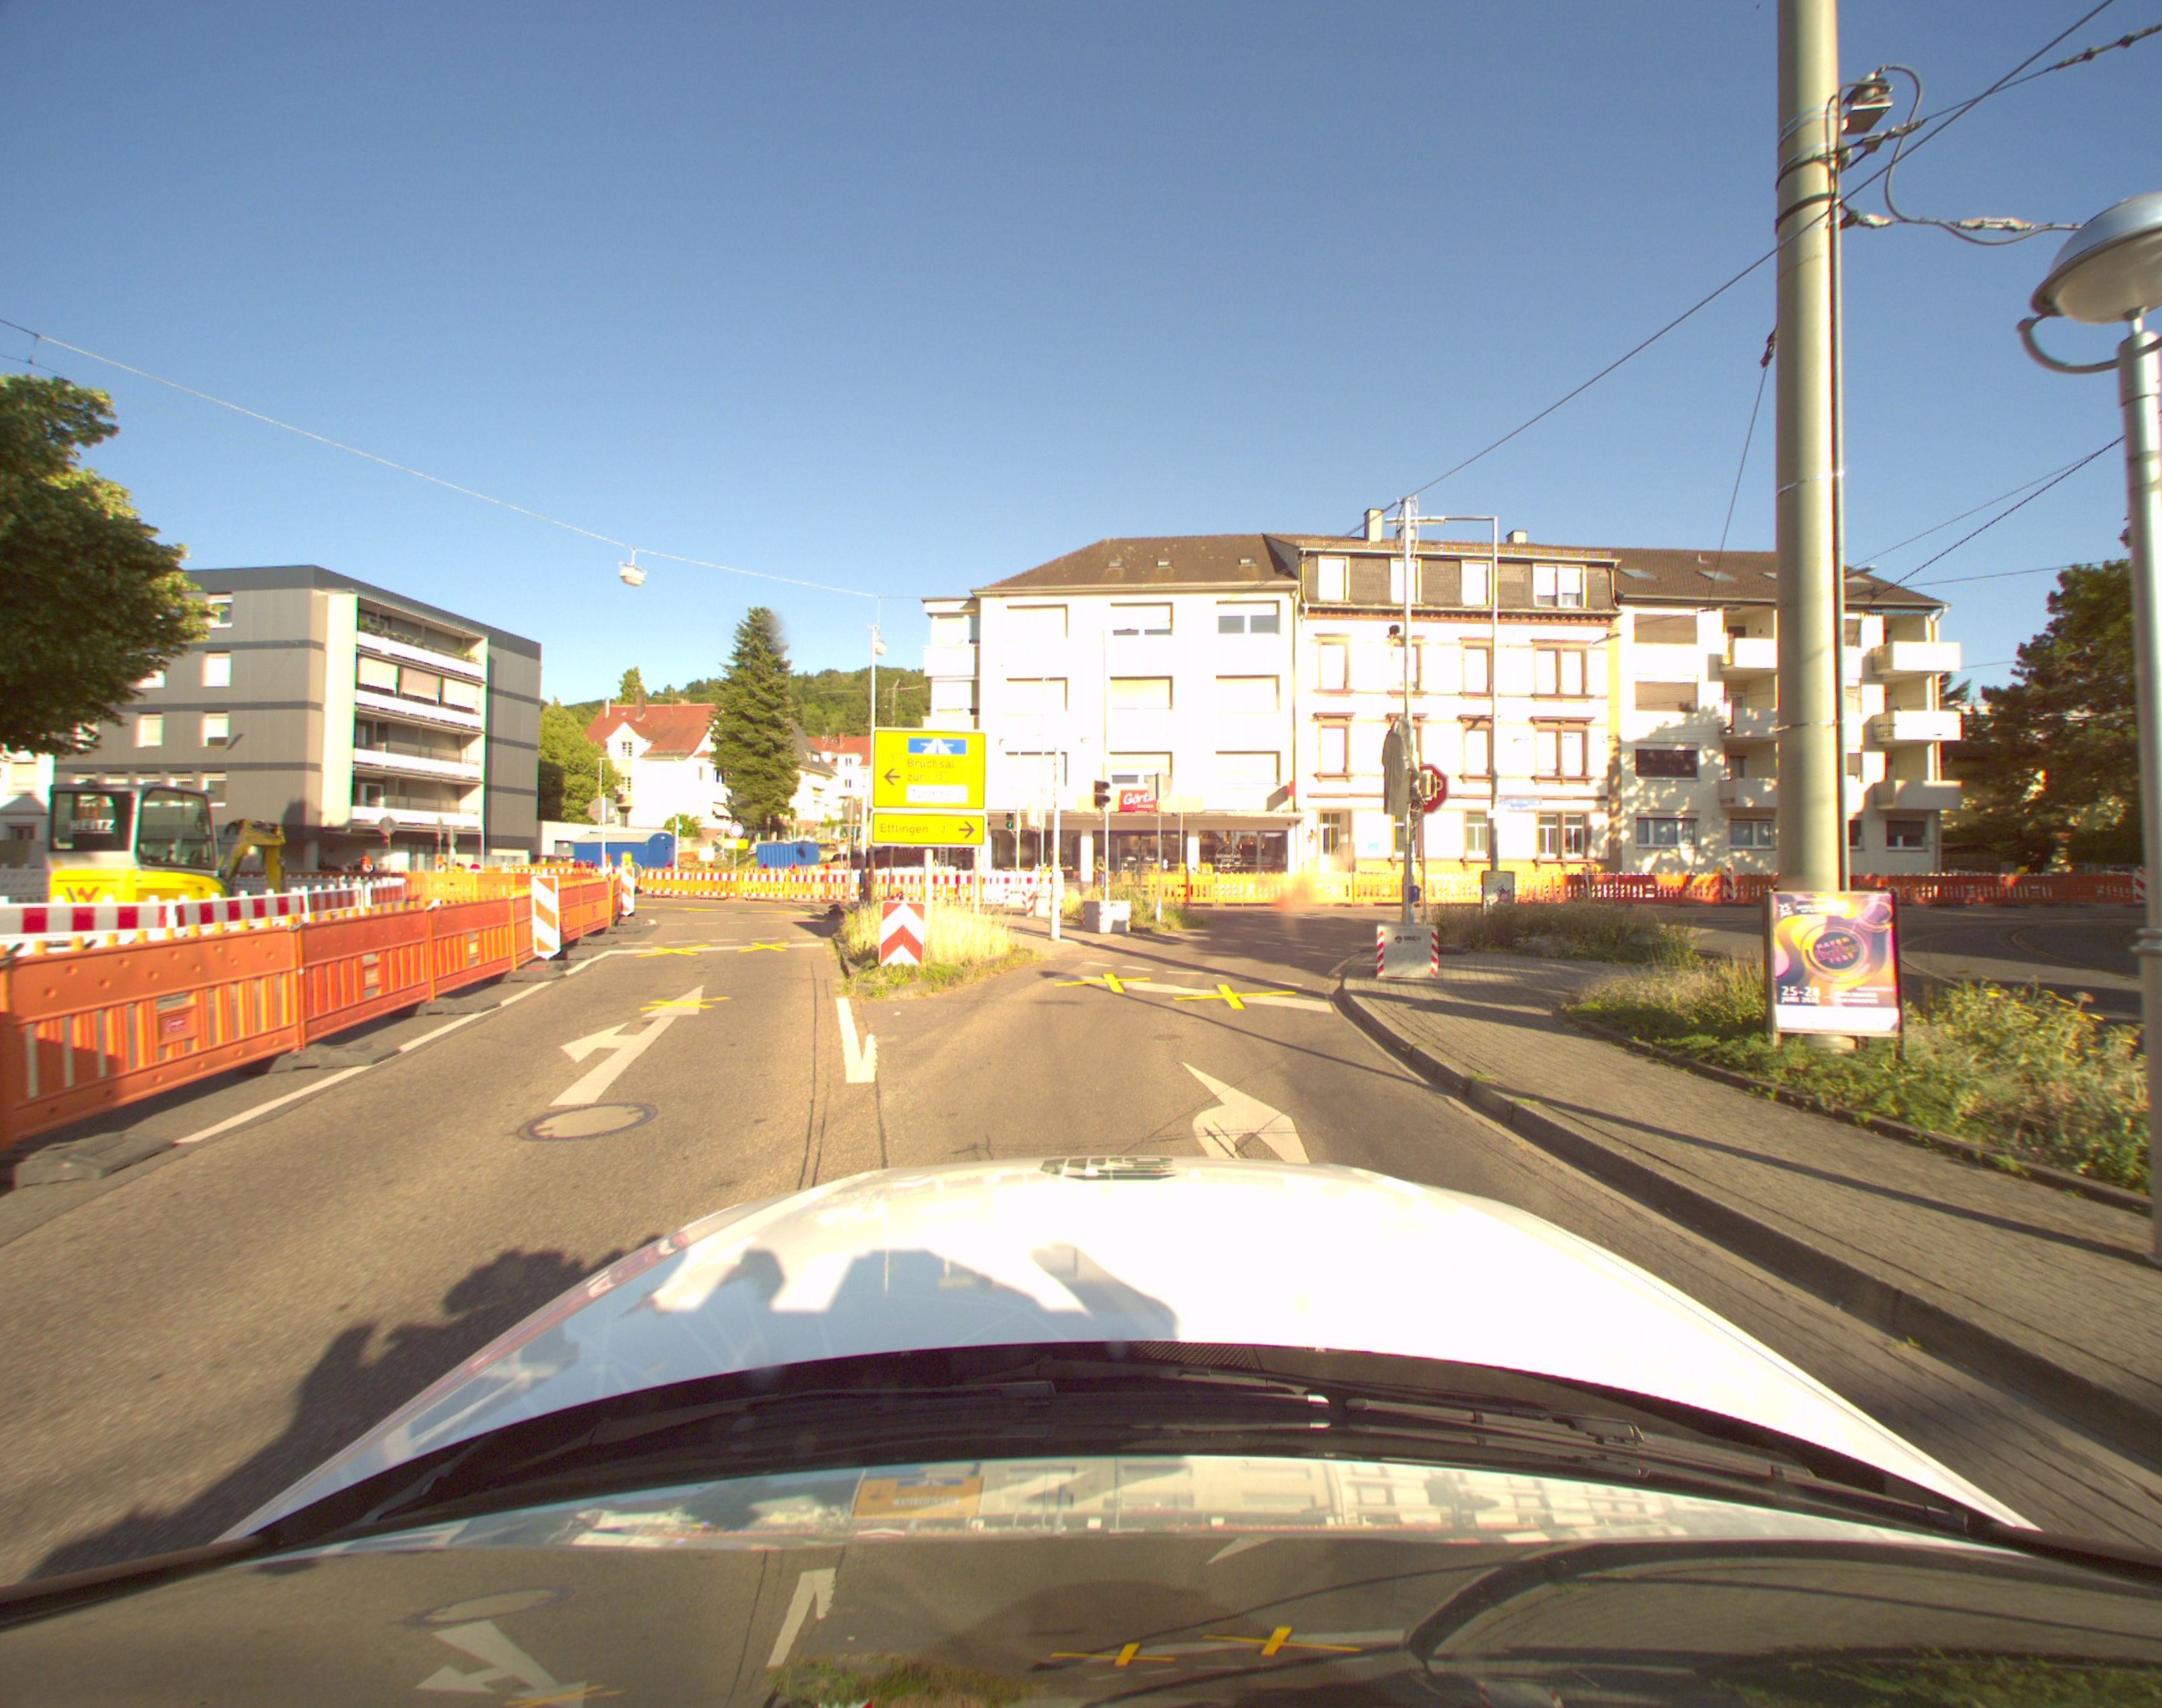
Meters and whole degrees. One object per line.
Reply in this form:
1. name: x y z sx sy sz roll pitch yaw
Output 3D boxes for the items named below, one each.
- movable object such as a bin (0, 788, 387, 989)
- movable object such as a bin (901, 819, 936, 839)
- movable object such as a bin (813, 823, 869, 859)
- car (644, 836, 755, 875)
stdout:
1. movable object such as a bin: -12.065 0.403 11.530 1.647 2.325 3.907 0 0 -10
2. movable object such as a bin: -19.212 -2.914 96.528 2.554 2.122 5.790 -1 -1 4
3. movable object such as a bin: -17.785 -0.911 60.610 1.935 2.494 4.568 -1 -1 13
4. car: -22.020 0.124 47.365 2.565 2.121 6.172 -1 -1 13
